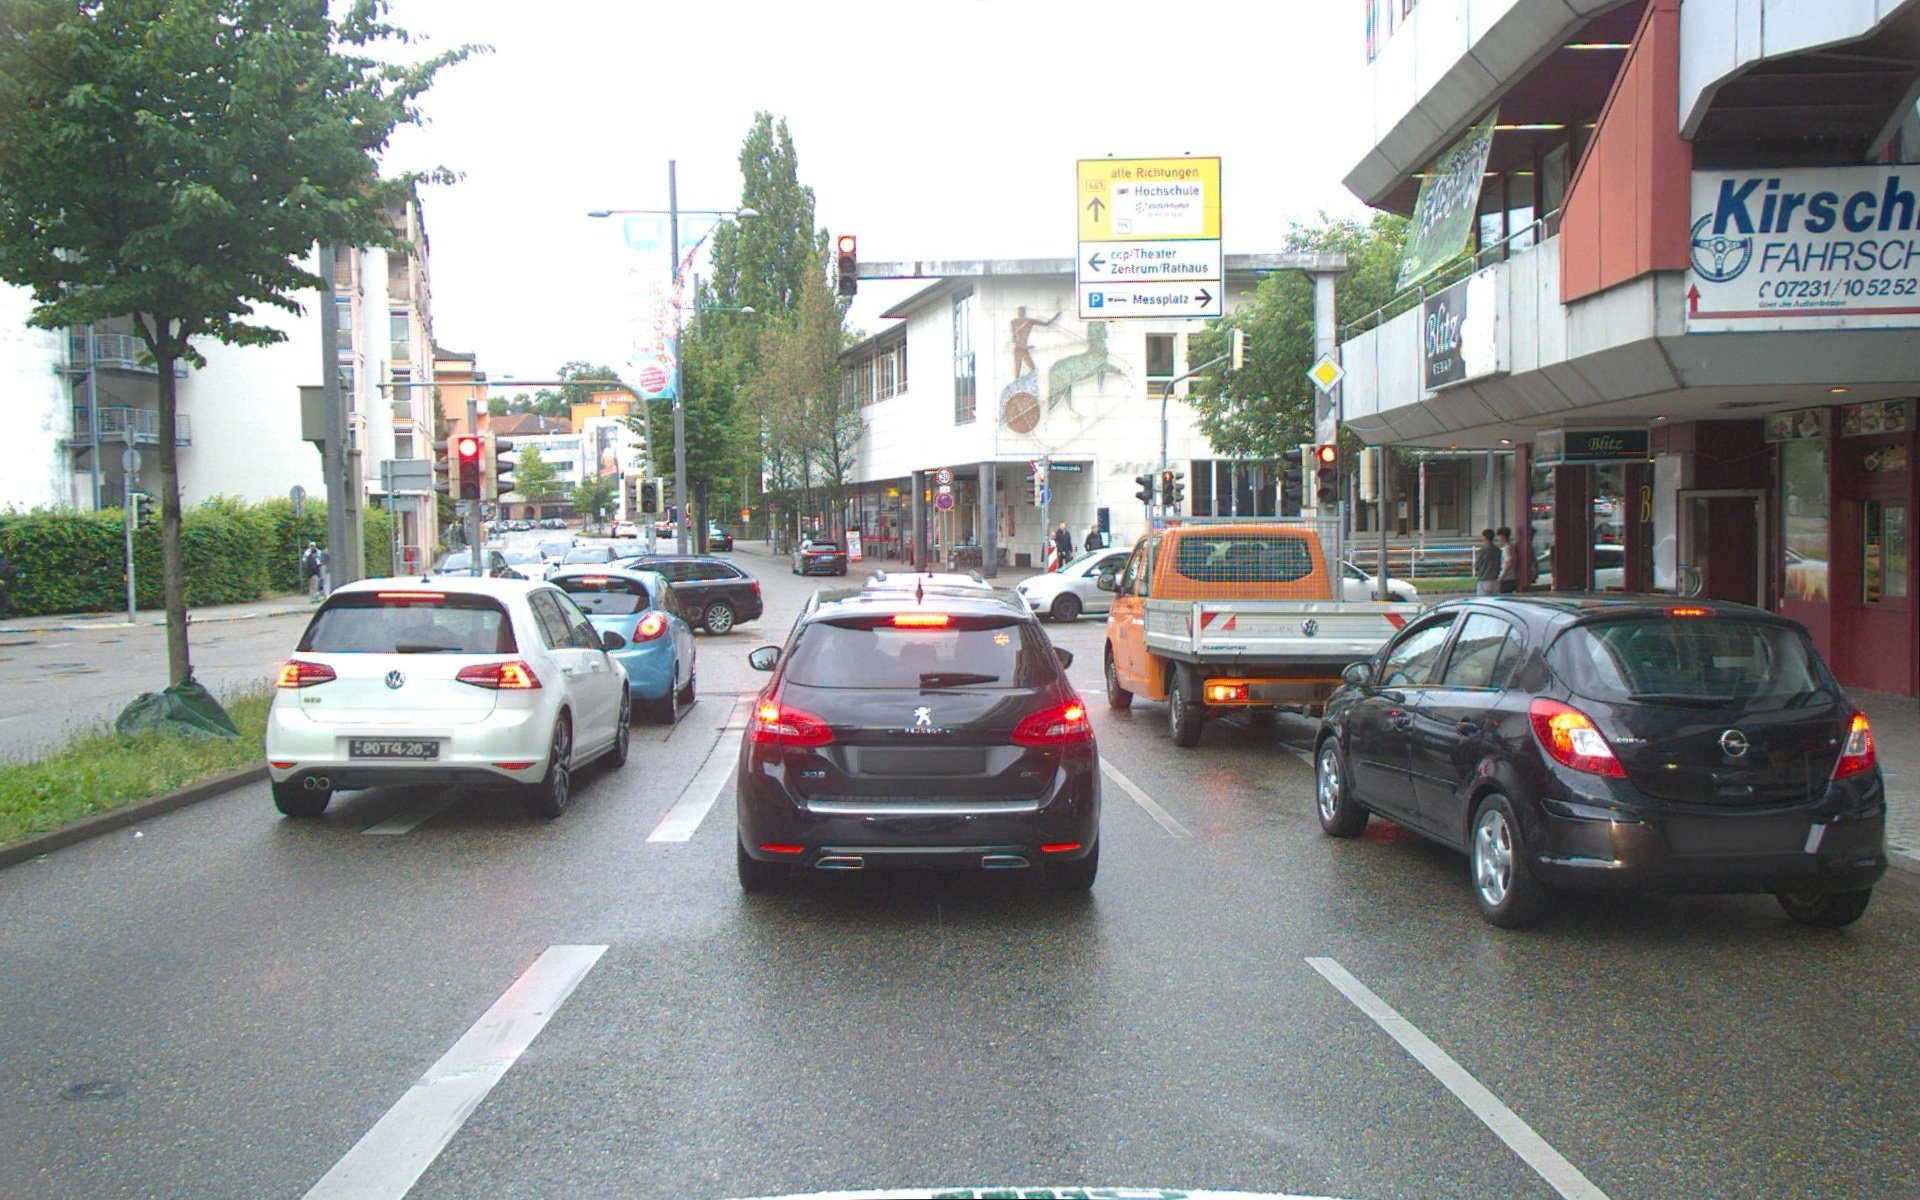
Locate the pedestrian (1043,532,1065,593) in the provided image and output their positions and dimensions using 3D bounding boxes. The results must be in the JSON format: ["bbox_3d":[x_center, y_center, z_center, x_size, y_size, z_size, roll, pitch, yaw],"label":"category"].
[{"bbox_3d":[2.810,-1.124,49.550,0.623,1.788,0.734,1,-1,6],"label":"pedestrian"}]

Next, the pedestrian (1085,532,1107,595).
[{"bbox_3d":[4.184,-1.114,50.838,0.623,1.930,0.734,1,-1,6],"label":"pedestrian"}]

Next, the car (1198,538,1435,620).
[{"bbox_3d":[6.885,-0.403,32.050,4.221,1.512,1.632,0,1,-15],"label":"car"}]

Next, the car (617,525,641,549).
[{"bbox_3d":[-29.156,-5.535,145.609,1.679,1.915,3.980,1,-1,-18],"label":"car"}]

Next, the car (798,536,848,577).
[{"bbox_3d":[-5.614,-1.816,67.478,1.753,1.479,4.500,-3,3,-7],"label":"car"}]

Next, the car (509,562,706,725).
[{"bbox_3d":[-3.599,0.376,17.398,1.601,1.512,3.606,1,2,-6],"label":"car"}]

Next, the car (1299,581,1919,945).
[{"bbox_3d":[3.082,0.649,8.688,1.584,1.454,3.839,1,1,-4],"label":"car"}]

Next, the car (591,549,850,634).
[{"bbox_3d":[-4.514,-0.192,31.566,4.682,1.512,1.619,0,2,-35],"label":"car"}]

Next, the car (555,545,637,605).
[{"bbox_3d":[-10.480,-0.684,47.815,1.710,1.607,3.996,1,-1,-4],"label":"car"}]

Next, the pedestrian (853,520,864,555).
[{"bbox_3d":[-5.295,-3.238,86.261,0.461,1.778,0.537,1,-1,-21],"label":"pedestrian"}]

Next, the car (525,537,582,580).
[{"bbox_3d":[-14.935,-1.525,60.900,1.602,1.512,3.605,1,2,-7],"label":"car"}]

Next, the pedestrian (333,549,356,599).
[{"bbox_3d":[-20.329,-0.857,54.656,0.569,1.627,0.526,1,-1,-7],"label":"pedestrian"}]

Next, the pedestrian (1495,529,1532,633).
[{"bbox_3d":[8.950,-0.300,26.763,0.388,1.668,0.504,-1,-1,0],"label":"pedestrian"}]

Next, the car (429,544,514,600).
[{"bbox_3d":[-13.784,-0.805,46.865,1.543,1.512,3.607,1,2,-4],"label":"car"}]

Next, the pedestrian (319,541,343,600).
[{"bbox_3d":[-19.494,-0.907,51.232,0.528,1.778,0.564,1,-1,-6],"label":"pedestrian"}]

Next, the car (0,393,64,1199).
[{"bbox_3d":[-3.039,0.443,1.422,1.873,1.903,5.071,1,-1,-2],"label":"car"}]

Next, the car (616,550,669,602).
[{"bbox_3d":[-11.069,-0.814,57.707,1.713,1.669,3.989,1,-1,-11],"label":"car"}]

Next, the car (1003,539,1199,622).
[{"bbox_3d":[2.910,-0.434,34.298,3.681,1.493,1.631,-3,2,-17],"label":"car"}]

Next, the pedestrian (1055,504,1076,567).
[{"bbox_3d":[3.282,-2.000,51.349,0.623,1.930,0.734,1,-1,6],"label":"pedestrian"}]

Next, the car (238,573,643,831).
[{"bbox_3d":[-3.340,0.558,11.390,1.742,1.454,3.840,1,1,-3],"label":"car"}]

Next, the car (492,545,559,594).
[{"bbox_3d":[-14.096,-1.017,53.839,1.602,1.512,3.605,1,2,-7],"label":"car"}]

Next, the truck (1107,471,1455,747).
[{"bbox_3d":[2.827,0.007,15.905,2.133,2.210,5.018,1,2,-3],"label":"truck"}]

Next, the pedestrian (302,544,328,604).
[{"bbox_3d":[-19.354,-0.769,49.622,0.529,1.778,0.746,1,-1,-9],"label":"pedestrian"}]

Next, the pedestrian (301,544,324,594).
[{"bbox_3d":[-20.987,-1.001,53.614,0.569,1.627,0.526,1,-1,-7],"label":"pedestrian"}]

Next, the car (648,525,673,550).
[{"bbox_3d":[-26.619,-5.516,146.866,1.679,1.970,3.980,1,-1,-18],"label":"car"}]

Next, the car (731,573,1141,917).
[{"bbox_3d":[-0.185,0.597,9.005,1.742,1.454,3.840,1,1,-3],"label":"car"}]

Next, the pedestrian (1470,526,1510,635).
[{"bbox_3d":[8.447,-0.303,26.368,0.417,1.712,0.450,-1,-1,-2],"label":"pedestrian"}]

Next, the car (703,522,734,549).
[{"bbox_3d":[-15.778,-4.185,107.914,1.695,1.516,4.718,1,-1,-12],"label":"car"}]

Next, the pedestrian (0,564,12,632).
[{"bbox_3d":[-23.984,-0.048,40.897,0.717,1.671,0.638,1,-1,-8],"label":"pedestrian"}]

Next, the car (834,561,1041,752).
[{"bbox_3d":[-0.215,0.418,15.316,1.662,1.512,3.793,1,2,-1],"label":"car"}]
